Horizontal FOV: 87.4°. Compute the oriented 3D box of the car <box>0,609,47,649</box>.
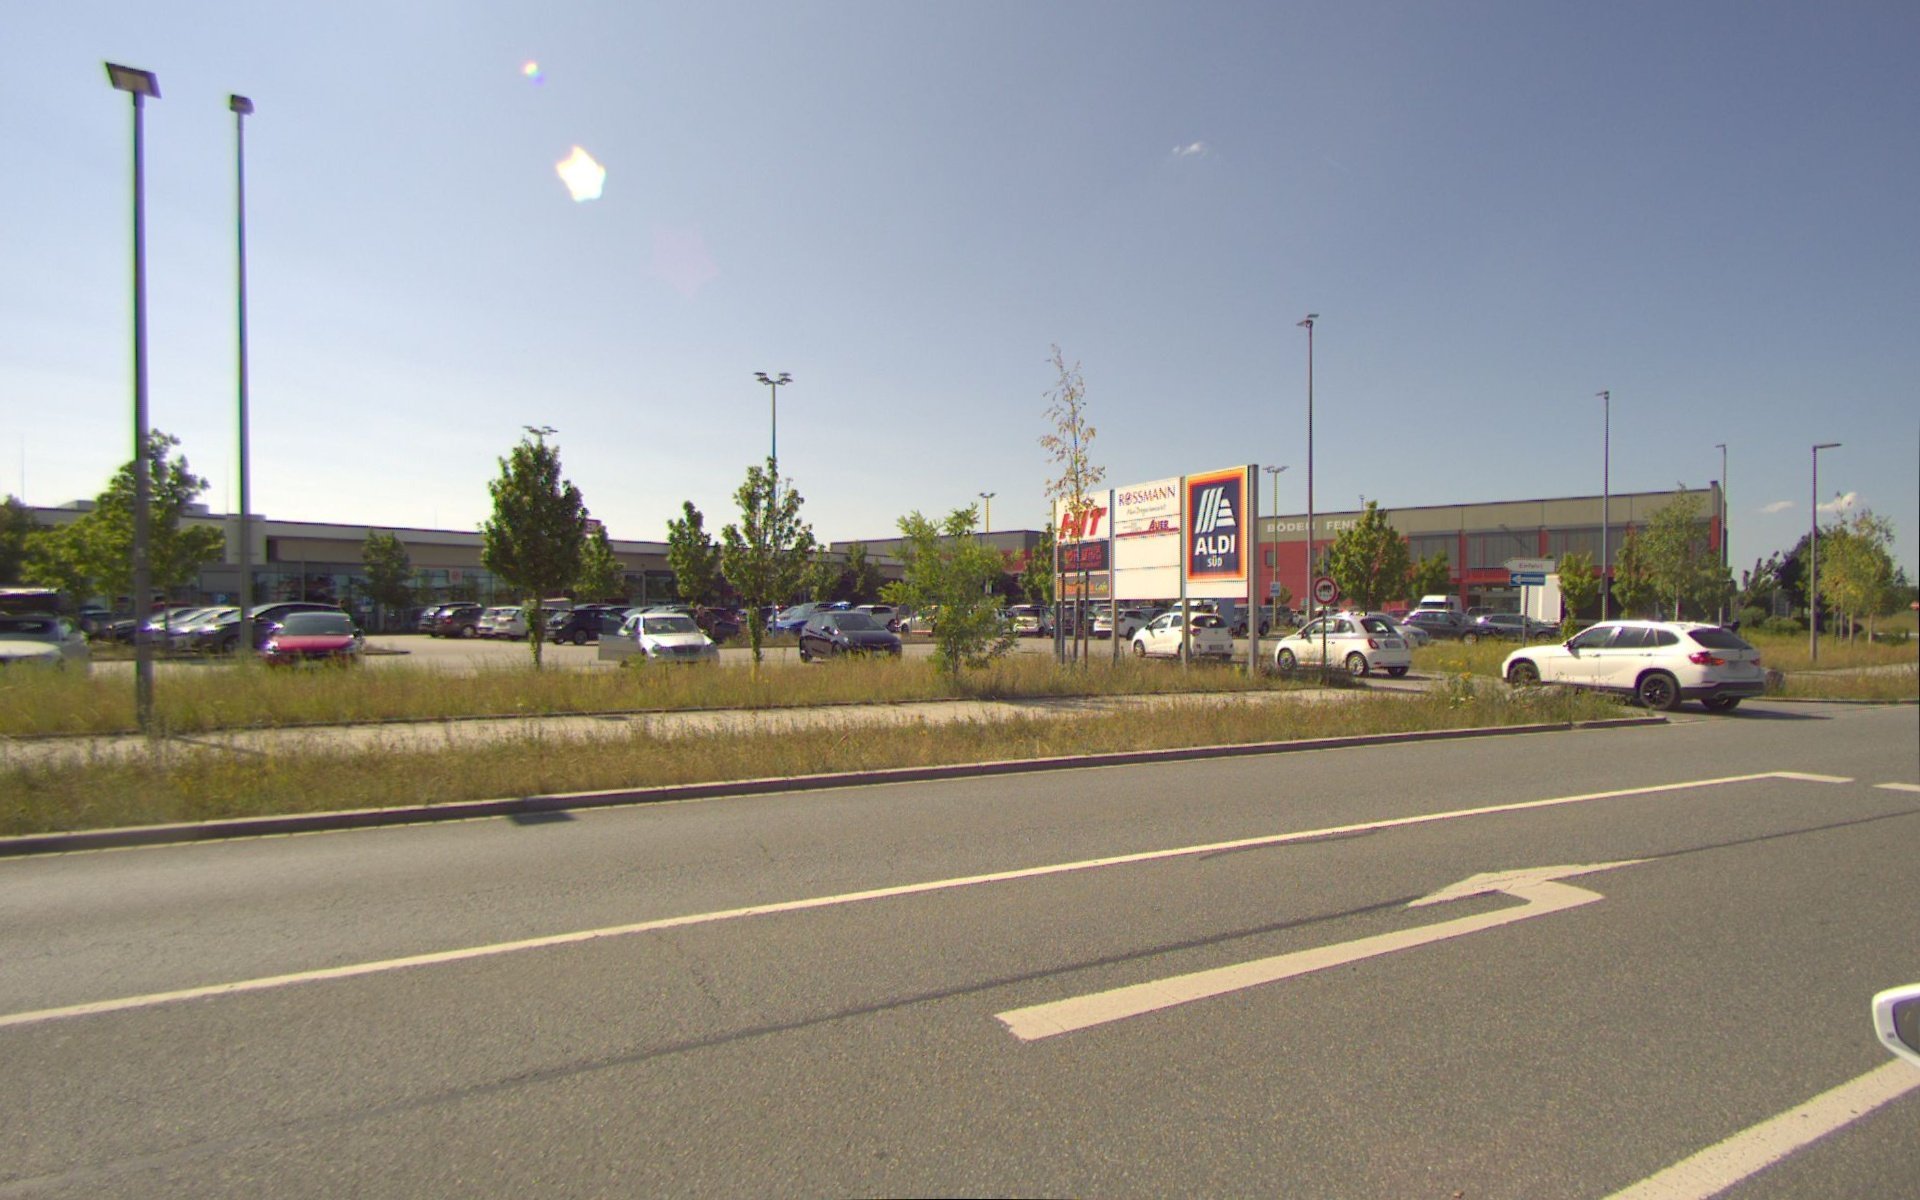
[{"bbox_3d":[-35.610,1.026,35.867,1.692,1.436,4.332,-1,-1,41],"label":"car"}]

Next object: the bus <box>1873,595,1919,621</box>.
[{"bbox_3d":[123.289,0.940,129.673,12.017,3.120,2.783,-2,0,-21],"label":"bus"}]

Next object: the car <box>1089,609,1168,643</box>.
[{"bbox_3d":[8.110,1.237,48.112,1.810,1.532,4.361,0,-1,40],"label":"car"}]

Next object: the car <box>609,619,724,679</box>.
[{"bbox_3d":[-7.492,1.162,25.394,1.913,1.366,4.125,0,-1,-30],"label":"car"}]

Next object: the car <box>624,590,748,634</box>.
[{"bbox_3d":[-10.186,0.452,37.625,1.691,1.536,4.336,0,-1,38],"label":"car"}]

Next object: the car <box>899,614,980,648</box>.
[{"bbox_3d":[-1.017,1.456,48.282,1.826,1.568,3.952,1,-1,-41],"label":"car"}]

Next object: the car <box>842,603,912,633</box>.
[{"bbox_3d":[-5.012,1.082,61.033,1.886,1.748,4.367,0,-1,36],"label":"car"}]

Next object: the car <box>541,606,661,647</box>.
[{"bbox_3d":[-14.475,1.042,40.687,1.691,1.581,4.336,0,-1,38],"label":"car"}]

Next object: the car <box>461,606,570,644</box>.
[{"bbox_3d":[-20.403,1.128,46.272,1.691,1.637,4.336,0,-1,38],"label":"car"}]

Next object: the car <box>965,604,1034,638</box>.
[{"bbox_3d":[2.187,1.110,53.857,1.883,1.740,4.374,0,-1,30],"label":"car"}]

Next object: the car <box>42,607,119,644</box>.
[{"bbox_3d":[-41.087,1.154,46.894,4.282,1.647,1.712,-1,-1,35],"label":"car"}]

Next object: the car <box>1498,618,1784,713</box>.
[{"bbox_3d":[12.695,1.138,19.059,1.889,1.568,4.206,1,-1,-20],"label":"car"}]

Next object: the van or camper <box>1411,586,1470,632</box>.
[{"bbox_3d":[36.193,0.705,75.542,2.400,3.314,7.204,0,-1,38],"label":"van or camper"}]

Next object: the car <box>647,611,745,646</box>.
[{"bbox_3d":[-12.408,1.305,47.379,1.691,1.596,4.336,0,-1,38],"label":"car"}]

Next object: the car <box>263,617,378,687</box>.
[{"bbox_3d":[-13.913,1.052,22.060,1.913,1.366,4.125,0,-1,-30],"label":"car"}]

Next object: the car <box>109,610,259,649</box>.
[{"bbox_3d":[-29.949,1.097,38.887,1.691,1.436,4.336,0,-1,38],"label":"car"}]

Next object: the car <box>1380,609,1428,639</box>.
[{"bbox_3d":[27.902,1.517,63.099,1.809,1.797,4.365,0,-1,37],"label":"car"}]

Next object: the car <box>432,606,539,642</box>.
[{"bbox_3d":[-22.575,1.112,47.908,1.691,1.623,4.336,0,-1,38],"label":"car"}]

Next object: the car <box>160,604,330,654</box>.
[{"bbox_3d":[-23.762,0.926,33.521,1.691,1.570,4.336,0,-1,38],"label":"car"}]

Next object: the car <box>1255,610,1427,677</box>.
[{"bbox_3d":[9.707,1.055,25.901,1.891,1.568,3.975,1,-1,-25],"label":"car"}]

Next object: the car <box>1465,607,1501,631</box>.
[{"bbox_3d":[37.899,1.388,72.742,1.640,1.693,4.068,0,-1,37],"label":"car"}]

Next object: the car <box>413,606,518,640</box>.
[{"bbox_3d":[-24.266,1.111,49.443,1.758,1.616,4.336,0,-1,38],"label":"car"}]

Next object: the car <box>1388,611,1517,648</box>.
[{"bbox_3d":[20.556,1.205,42.086,1.820,1.478,4.545,1,-1,-35],"label":"car"}]

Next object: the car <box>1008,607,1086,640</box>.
[{"bbox_3d":[4.563,1.222,52.250,1.889,1.639,4.361,0,-1,40],"label":"car"}]

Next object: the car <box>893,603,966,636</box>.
[{"bbox_3d":[-1.676,1.092,56.969,1.886,1.817,4.367,0,-1,36],"label":"car"}]

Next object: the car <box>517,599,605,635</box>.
[{"bbox_3d":[-22.488,0.959,56.724,1.691,1.985,4.336,0,-1,38],"label":"car"}]

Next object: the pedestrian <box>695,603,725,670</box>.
[{"bbox_3d":[-6.507,0.948,26.159,0.571,1.717,0.761,1,0,-30],"label":"pedestrian"}]

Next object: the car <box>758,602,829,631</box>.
[{"bbox_3d":[-10.515,1.029,63.629,1.886,1.762,4.367,0,-1,36],"label":"car"}]

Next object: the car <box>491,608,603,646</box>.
[{"bbox_3d":[-18.213,1.167,44.415,1.691,1.565,4.336,0,-1,38],"label":"car"}]

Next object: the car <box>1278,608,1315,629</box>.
[{"bbox_3d":[27.165,1.464,81.034,1.640,1.636,4.068,0,-1,37],"label":"car"}]

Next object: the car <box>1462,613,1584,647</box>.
[{"bbox_3d":[25.049,1.319,44.830,1.956,1.402,4.394,1,-1,-35],"label":"car"}]

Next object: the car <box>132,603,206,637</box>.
[{"bbox_3d":[-39.072,0.976,49.608,4.282,1.655,1.712,-1,-1,35],"label":"car"}]

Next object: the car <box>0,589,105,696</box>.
[{"bbox_3d":[-18.115,0.773,19.331,1.911,1.886,4.122,0,-1,-32],"label":"car"}]

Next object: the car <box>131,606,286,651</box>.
[{"bbox_3d":[-27.713,1.016,37.178,1.691,1.553,4.336,0,-1,38],"label":"car"}]

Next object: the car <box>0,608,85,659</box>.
[{"bbox_3d":[-29.748,1.007,30.728,1.692,1.546,4.332,-1,-1,41],"label":"car"}]

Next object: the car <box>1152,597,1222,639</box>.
[{"bbox_3d":[11.974,0.959,52.741,1.810,2.092,4.361,0,-1,40],"label":"car"}]

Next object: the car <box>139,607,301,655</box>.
[{"bbox_3d":[-25.976,1.045,35.403,1.691,1.592,4.336,0,-1,38],"label":"car"}]

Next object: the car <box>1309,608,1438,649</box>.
[{"bbox_3d":[16.147,1.075,39.467,1.816,1.532,4.585,1,-1,-29],"label":"car"}]

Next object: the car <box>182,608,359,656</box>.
[{"bbox_3d":[-21.761,0.973,31.848,1.691,1.436,4.336,0,-1,38],"label":"car"}]

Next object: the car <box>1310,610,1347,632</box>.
[{"bbox_3d":[28.852,1.655,78.668,1.640,1.636,4.068,0,-1,37],"label":"car"}]

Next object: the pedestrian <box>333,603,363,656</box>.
[{"bbox_3d":[-21.444,1.033,35.197,0.562,1.848,0.777,0,-1,40],"label":"pedestrian"}]

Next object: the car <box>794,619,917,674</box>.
[{"bbox_3d":[-2.969,1.233,27.774,1.913,1.366,4.125,0,-1,-30],"label":"car"}]

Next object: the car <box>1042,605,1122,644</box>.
[{"bbox_3d":[6.125,1.212,50.101,1.889,1.827,4.361,0,-1,40],"label":"car"}]

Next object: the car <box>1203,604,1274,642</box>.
[{"bbox_3d":[14.205,1.144,51.088,1.810,1.848,4.361,0,-1,40],"label":"car"}]

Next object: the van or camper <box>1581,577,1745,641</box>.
[{"bbox_3d":[41.343,0.528,59.290,2.539,3.514,7.614,1,-1,-45],"label":"van or camper"}]

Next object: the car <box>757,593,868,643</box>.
[{"bbox_3d":[-6.150,0.755,42.436,1.691,2.012,4.813,0,-1,38],"label":"car"}]

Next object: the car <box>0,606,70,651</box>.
[{"bbox_3d":[-33.189,0.963,34.057,1.692,1.497,4.332,-1,-1,41],"label":"car"}]

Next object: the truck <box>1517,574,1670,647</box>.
[{"bbox_3d":[31.863,0.564,50.484,7.374,3.510,2.316,1,-1,-18],"label":"truck"}]

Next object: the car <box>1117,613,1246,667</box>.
[{"bbox_3d":[6.928,1.222,31.770,1.893,1.568,3.972,1,-1,-27],"label":"car"}]

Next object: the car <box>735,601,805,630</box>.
[{"bbox_3d":[-12.234,1.007,64.892,1.886,1.784,4.367,0,-1,36],"label":"car"}]
